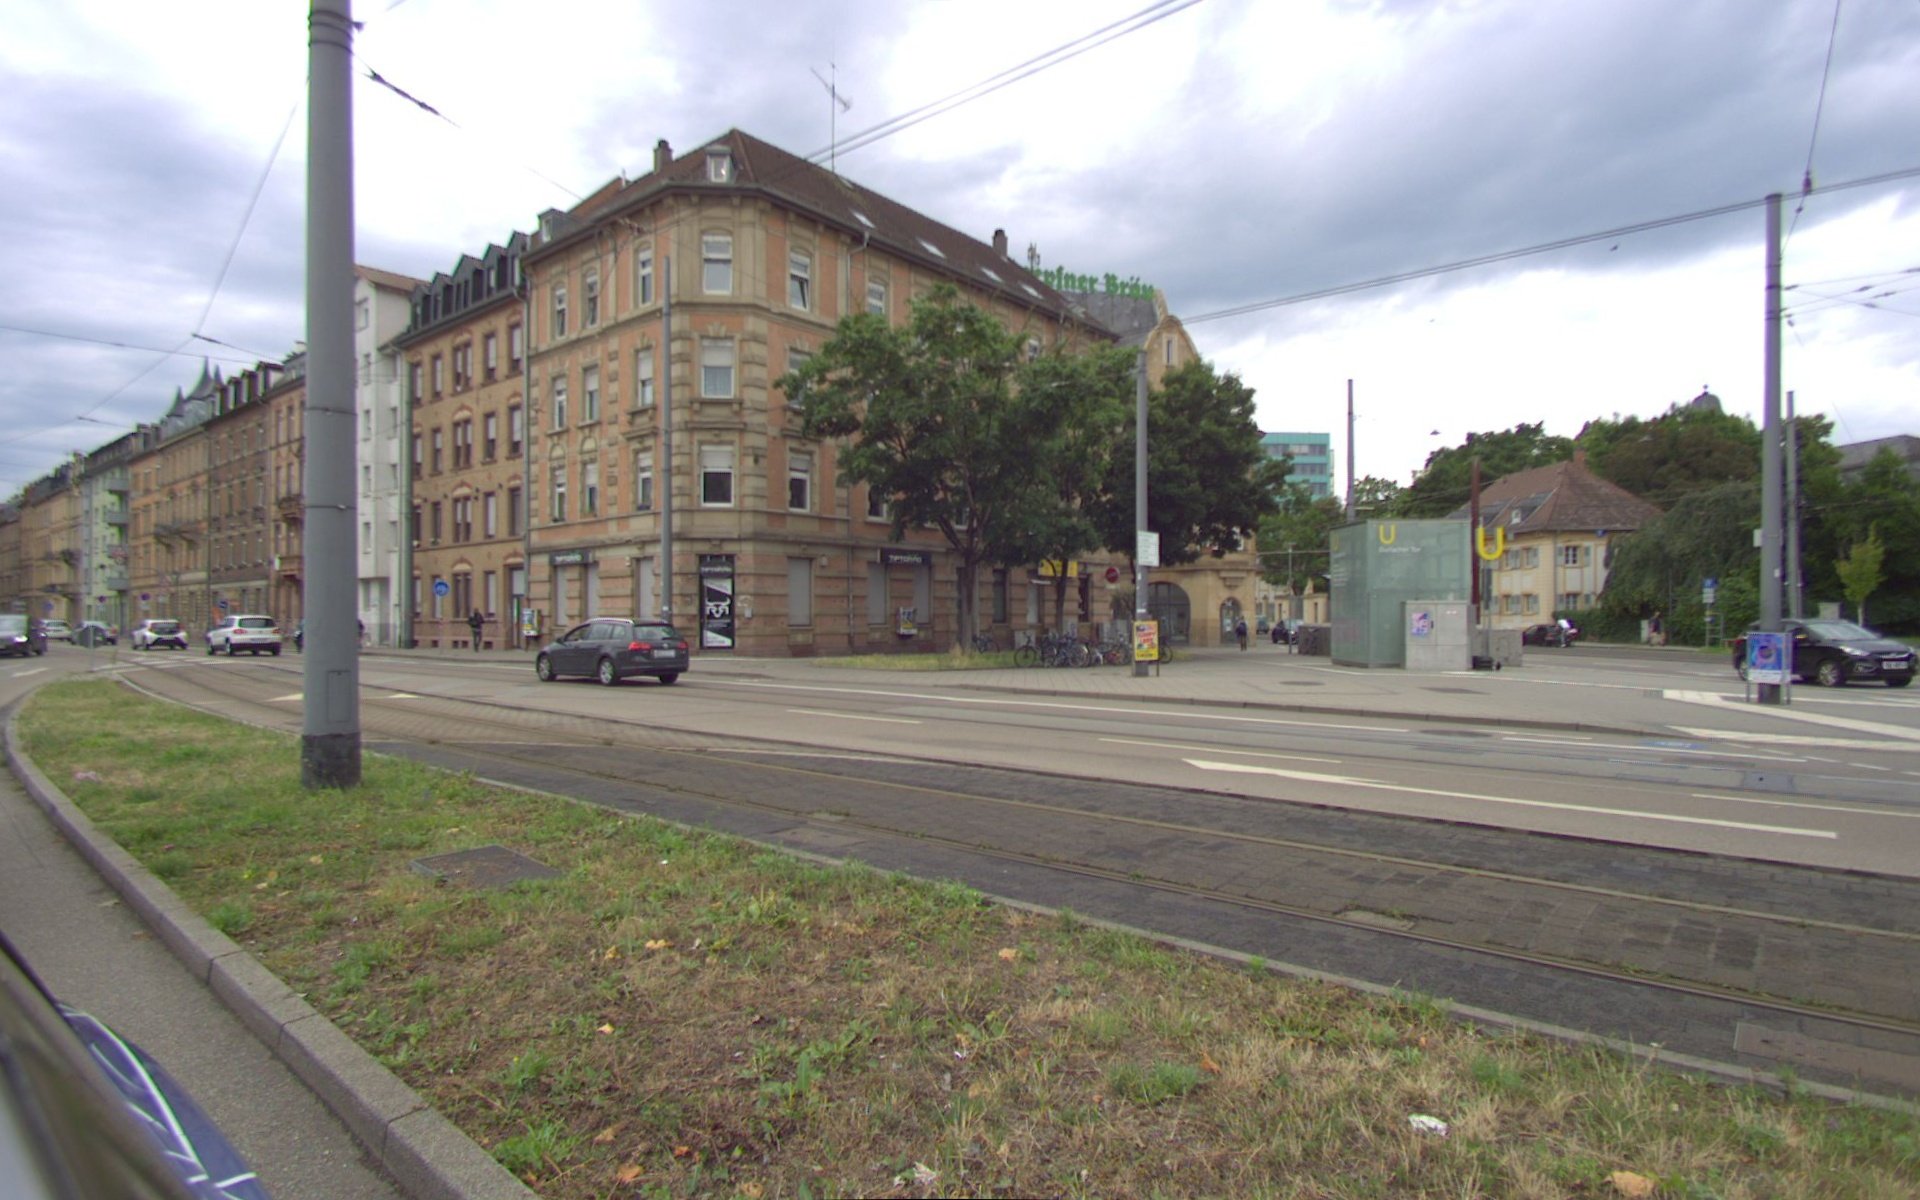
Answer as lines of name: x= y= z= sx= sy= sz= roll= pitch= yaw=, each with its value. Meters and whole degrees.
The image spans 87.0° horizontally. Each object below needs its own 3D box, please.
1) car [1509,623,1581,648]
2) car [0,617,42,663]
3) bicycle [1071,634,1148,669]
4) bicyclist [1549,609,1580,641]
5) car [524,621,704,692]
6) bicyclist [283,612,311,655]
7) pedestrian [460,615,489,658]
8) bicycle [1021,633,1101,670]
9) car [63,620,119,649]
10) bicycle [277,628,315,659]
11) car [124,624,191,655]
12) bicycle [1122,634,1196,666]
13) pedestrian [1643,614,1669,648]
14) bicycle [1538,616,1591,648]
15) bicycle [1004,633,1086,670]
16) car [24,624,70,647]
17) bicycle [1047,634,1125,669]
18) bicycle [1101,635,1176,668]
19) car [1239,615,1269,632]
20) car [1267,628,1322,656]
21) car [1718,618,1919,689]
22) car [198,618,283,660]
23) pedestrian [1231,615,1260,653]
car: x=35.704 y=2.147 z=61.918 sx=1.971 sy=1.442 sz=4.001 roll=0 pitch=-1 yaw=-2
car: x=-38.406 y=1.574 z=40.356 sx=5.131 sy=1.768 sz=2.340 roll=-2 pitch=-2 yaw=44
bicycle: x=4.682 y=1.615 z=31.855 sx=2.395 sy=1.038 sz=0.744 roll=-1 pitch=-2 yaw=41
bicyclist: x=34.424 y=1.436 z=57.628 sx=1.077 sy=1.796 sz=1.017 roll=0 pitch=-1 yaw=-2
car: x=-7.993 y=1.227 z=23.218 sx=4.459 sy=1.481 sz=1.865 roll=-1 pitch=-1 yaw=39
bicyclist: x=-29.283 y=1.482 z=44.685 sx=0.923 sy=1.881 sz=0.813 roll=-1 pitch=-2 yaw=41
pedestrian: x=-19.577 y=1.470 z=40.809 sx=0.797 sy=1.688 sz=0.802 roll=-1 pitch=-2 yaw=37
bicycle: x=2.990 y=1.529 z=30.290 sx=2.395 sy=1.038 sz=0.744 roll=-1 pitch=-2 yaw=41
car: x=-52.531 y=2.050 z=61.161 sx=4.229 sy=1.716 sz=1.873 roll=-1 pitch=-1 yaw=39
bicycle: x=-29.367 y=1.892 z=44.753 sx=2.410 sy=1.302 sz=0.788 roll=-1 pitch=-1 yaw=41
car: x=-39.957 y=1.934 z=50.346 sx=4.013 sy=1.442 sz=1.792 roll=-1 pitch=-1 yaw=39
bicycle: x=6.666 y=1.666 z=34.035 sx=2.395 sy=1.038 sz=0.744 roll=-1 pitch=-2 yaw=41
pedestrian: x=38.485 y=1.691 z=55.964 sx=0.797 sy=1.846 sz=0.851 roll=0 pitch=-1 yaw=-7
bicycle: x=34.417 y=1.830 z=57.716 sx=1.070 sy=1.763 sz=3.087 roll=0 pitch=-1 yaw=-2
bicycle: x=2.472 y=1.485 z=29.681 sx=2.395 sy=1.038 sz=0.826 roll=-1 pitch=-2 yaw=41
car: x=-65.134 y=2.512 z=72.169 sx=4.570 sy=1.521 sz=1.796 roll=-1 pitch=-1 yaw=39
bicycle: x=3.859 y=1.568 z=31.134 sx=2.395 sy=1.038 sz=0.744 roll=-1 pitch=-2 yaw=41
bicycle: x=5.798 y=1.661 z=32.979 sx=2.395 sy=1.038 sz=0.744 roll=-1 pitch=-2 yaw=41
car: x=31.781 y=2.555 z=109.610 sx=1.971 sy=1.863 sz=4.001 roll=0 pitch=-1 yaw=-2
car: x=22.317 y=2.780 z=67.730 sx=2.134 sy=1.727 sz=4.921 roll=1 pitch=-2 yaw=2
car: x=21.657 y=1.262 z=25.268 sx=1.969 sy=1.623 sz=4.250 roll=0 pitch=-1 yaw=-6
car: x=-29.591 y=1.575 z=41.569 sx=4.226 sy=1.658 sz=1.812 roll=-1 pitch=-1 yaw=39
pedestrian: x=14.339 y=1.699 z=50.827 sx=1.083 sy=1.911 sz=1.139 roll=-1 pitch=-2 yaw=34
